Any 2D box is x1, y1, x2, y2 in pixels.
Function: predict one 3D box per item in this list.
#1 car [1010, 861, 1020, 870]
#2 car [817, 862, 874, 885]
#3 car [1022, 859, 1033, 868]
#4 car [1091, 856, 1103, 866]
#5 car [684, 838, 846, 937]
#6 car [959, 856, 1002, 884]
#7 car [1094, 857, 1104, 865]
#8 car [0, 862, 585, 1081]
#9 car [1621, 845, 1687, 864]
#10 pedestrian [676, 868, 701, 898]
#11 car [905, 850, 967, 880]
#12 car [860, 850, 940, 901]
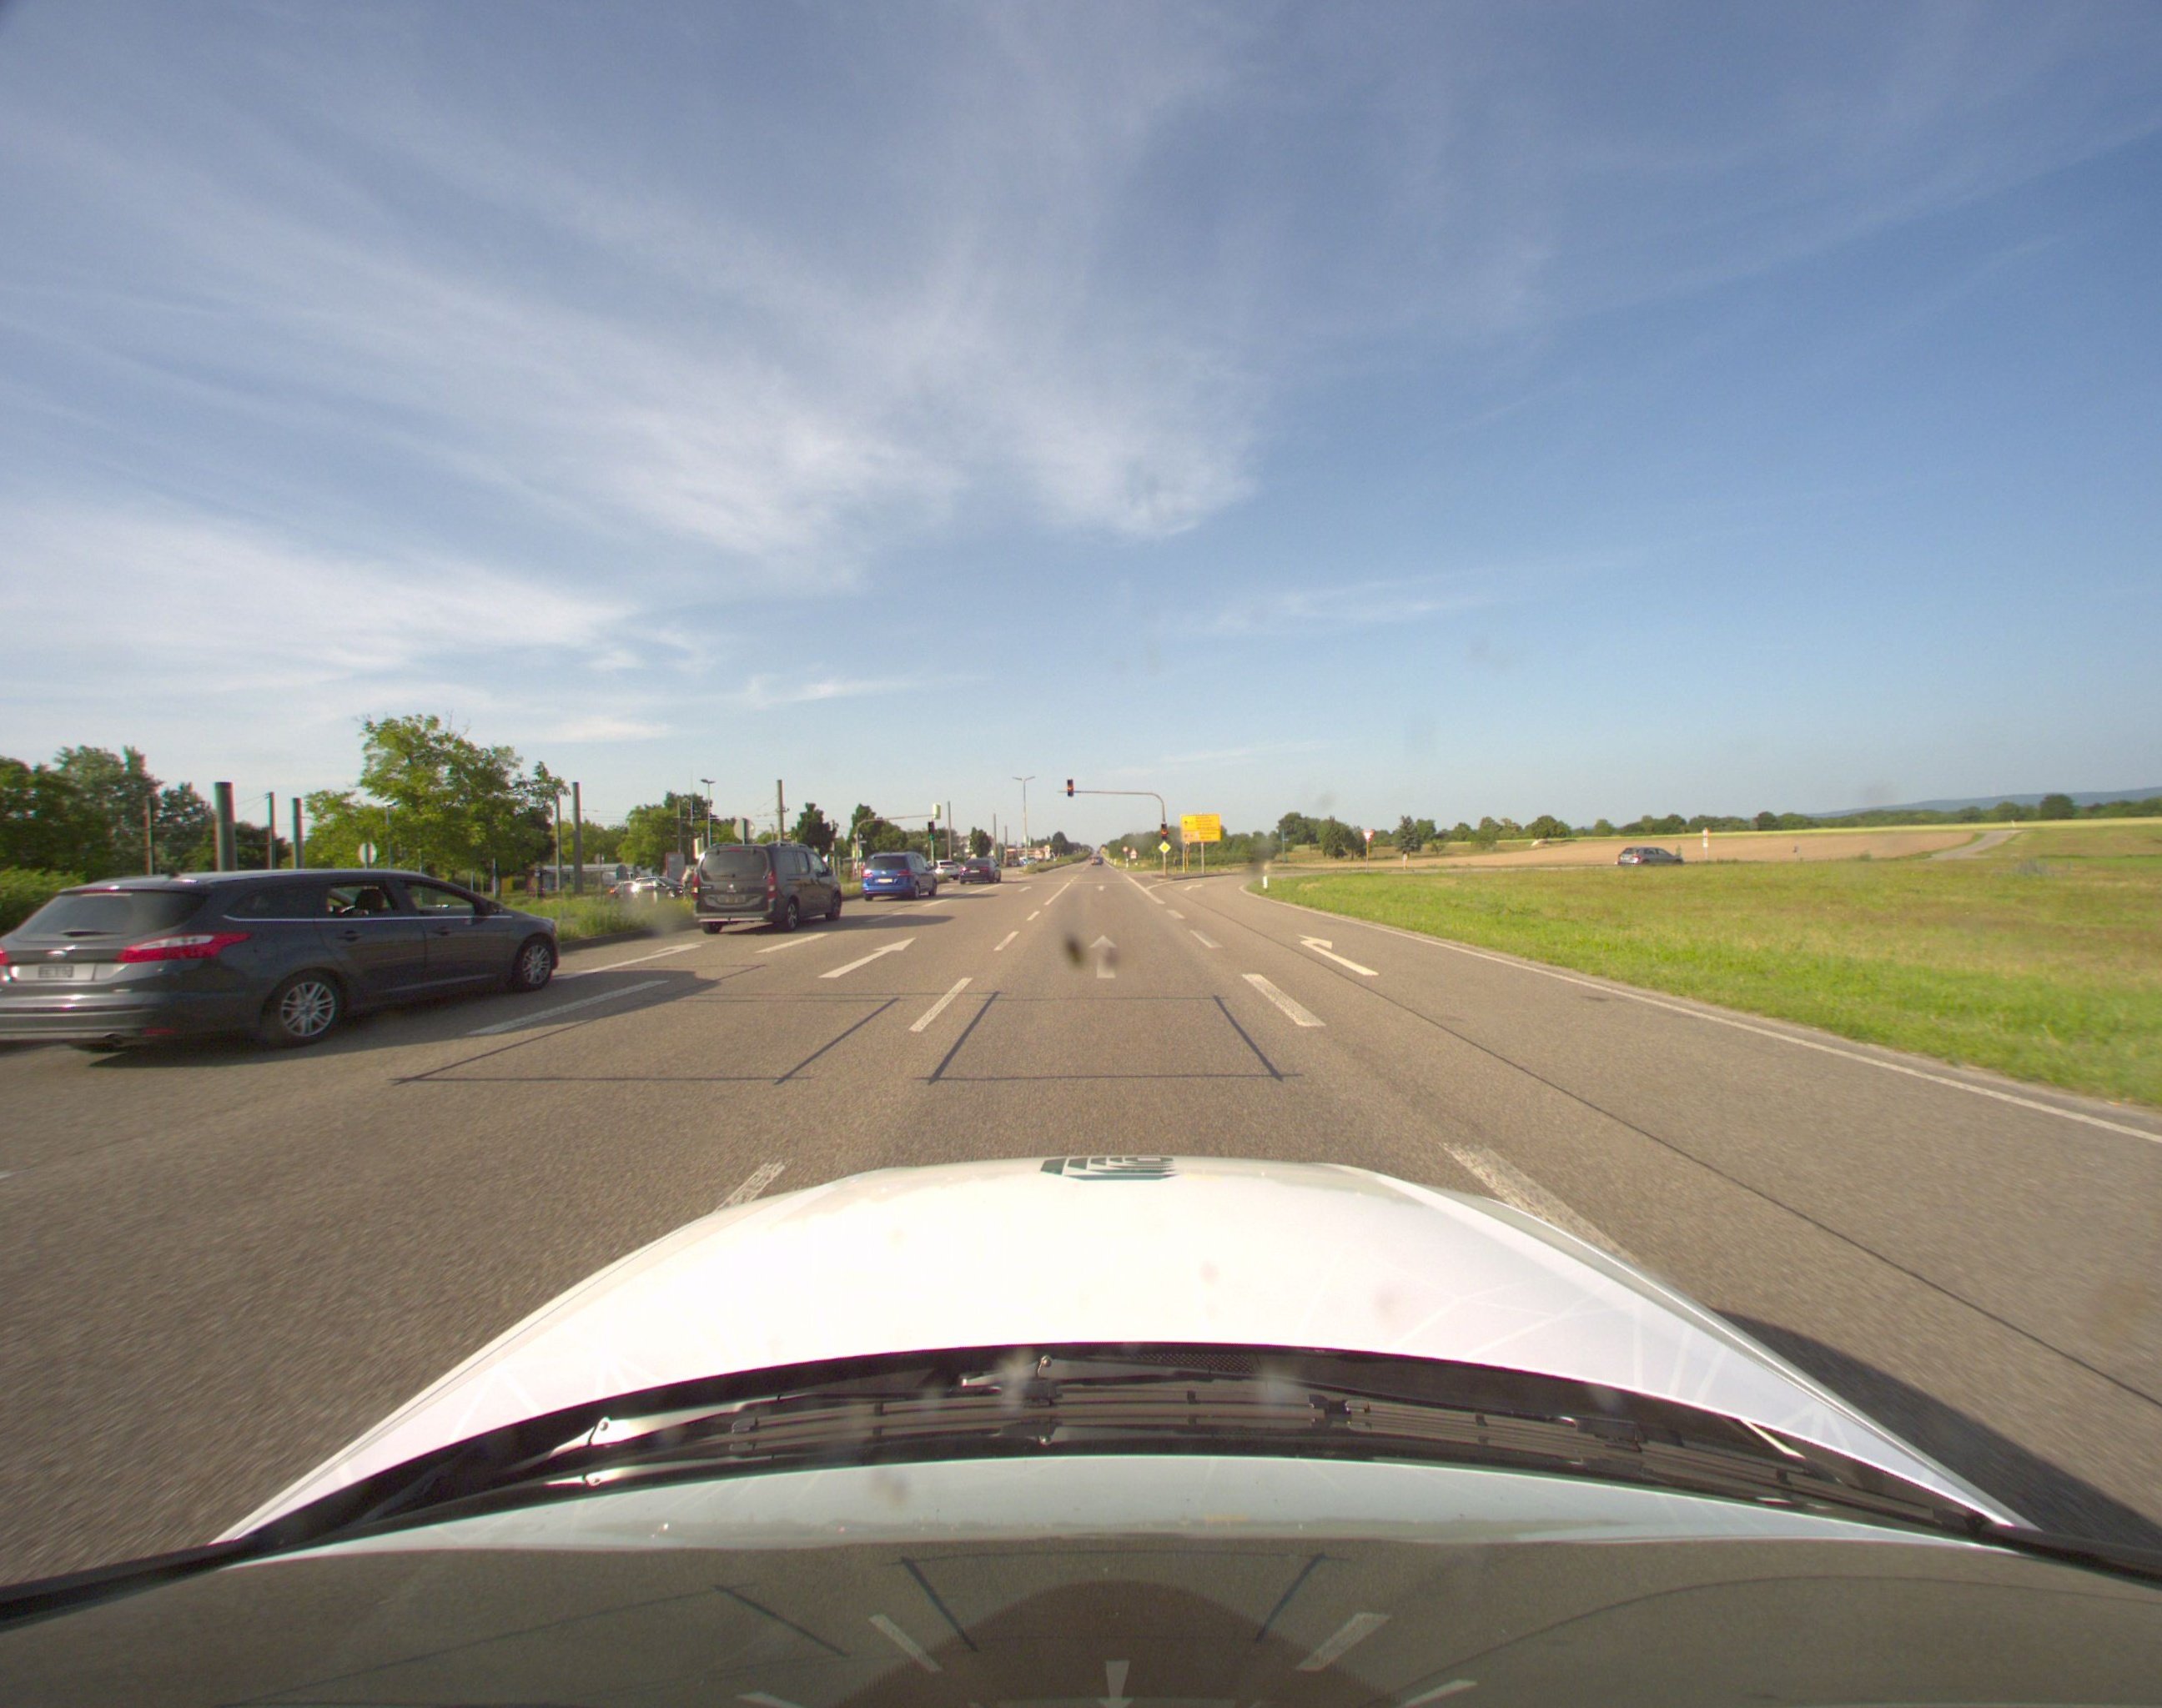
[{"bbox_3d":[-13.193,2.247,163.193,1.682,1.662,3.760,-1,0,2],"label":"car"},{"bbox_3d":[-19.550,1.610,67.822,4.280,1.717,1.912,-1,0,-9],"label":"car"},{"bbox_3d":[-10.012,1.770,152.827,1.793,1.622,3.623,0,-2,2],"label":"car"},{"bbox_3d":[2.855,1.213,141.972,1.986,1.552,4.002,-1,0,2],"label":"car"},{"bbox_3d":[-6.709,0.649,17.873,1.726,1.855,4.519,-1,0,0],"label":"car"},{"bbox_3d":[-5.567,0.867,45.683,1.763,1.471,4.017,-1,0,2],"label":"car"},{"bbox_3d":[3.922,1.538,174.152,1.986,1.552,4.002,-1,0,2],"label":"car"},{"bbox_3d":[-7.145,0.845,7.933,1.726,1.456,4.522,-1,0,2],"label":"car"},{"bbox_3d":[39.600,0.010,56.306,3.625,1.219,1.559,-1,0,-8],"label":"car"},{"bbox_3d":[-22.365,1.633,46.454,0.914,1.706,1.065,0,-2,-5],"label":"pedestrian"},{"bbox_3d":[-10.146,0.772,57.045,3.949,2.013,1.846,-1,0,29],"label":"car"},{"bbox_3d":[-6.525,0.728,29.857,1.763,1.679,4.522,-1,0,2],"label":"car"}]
